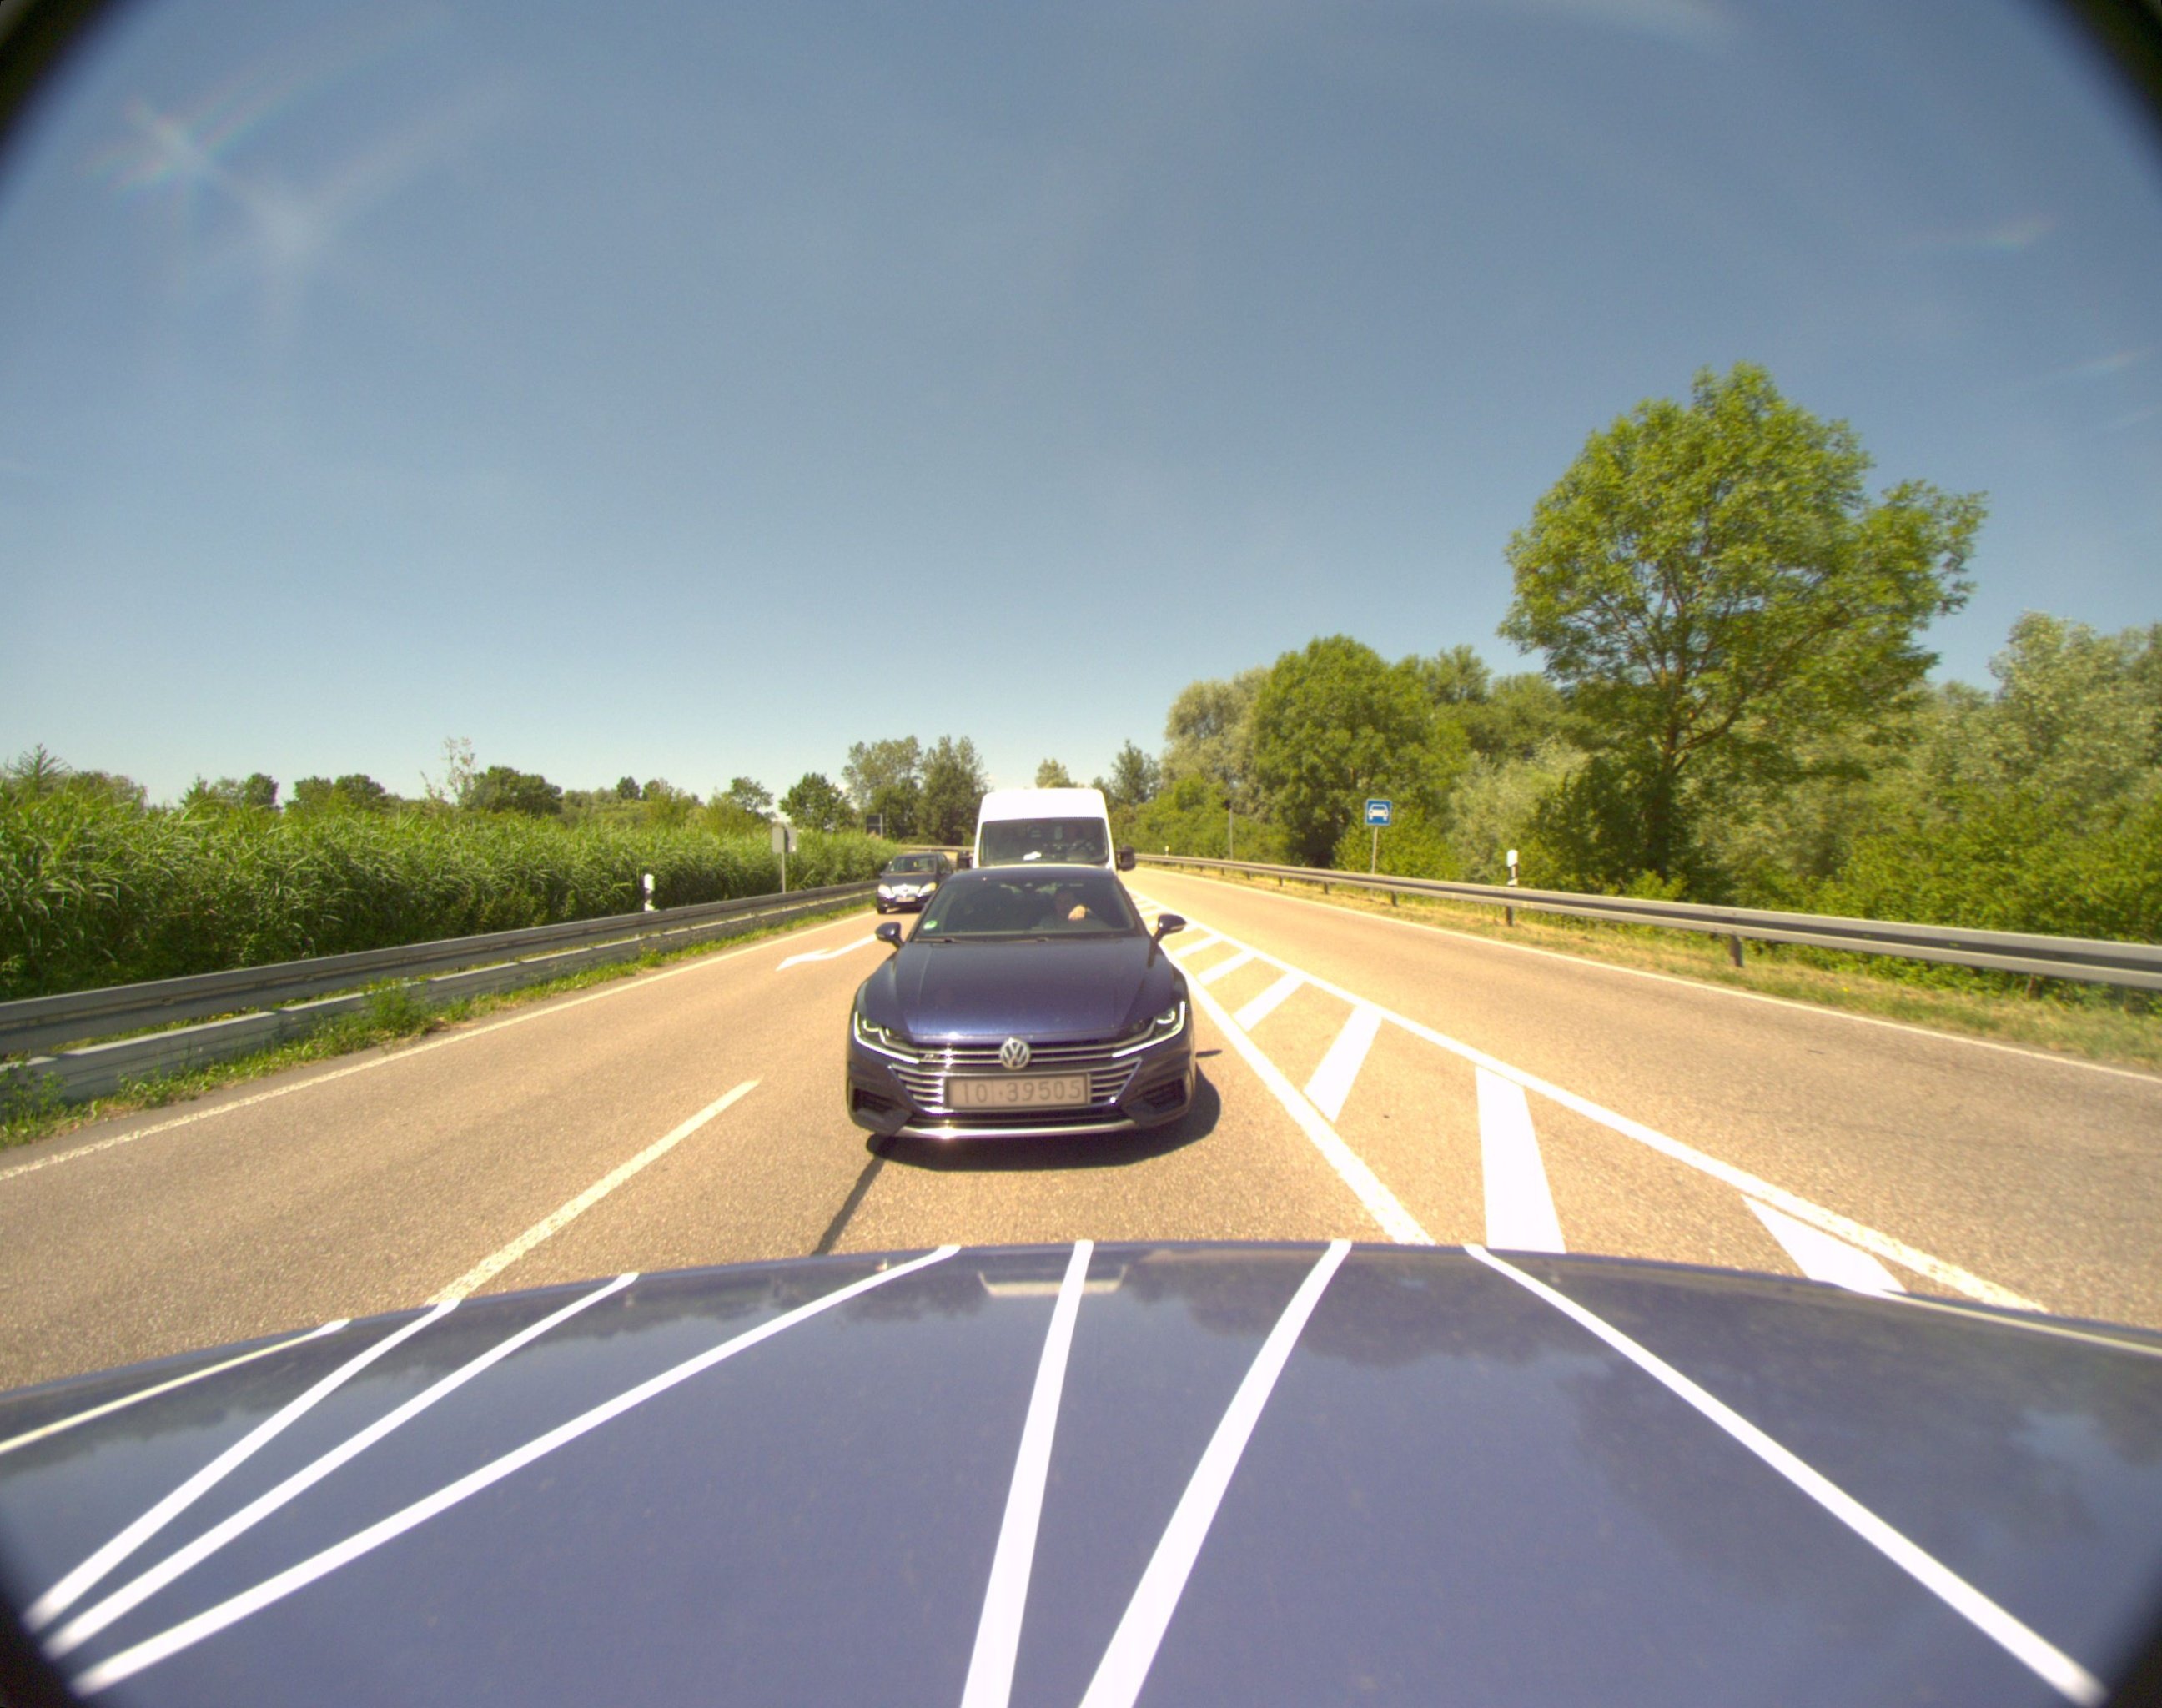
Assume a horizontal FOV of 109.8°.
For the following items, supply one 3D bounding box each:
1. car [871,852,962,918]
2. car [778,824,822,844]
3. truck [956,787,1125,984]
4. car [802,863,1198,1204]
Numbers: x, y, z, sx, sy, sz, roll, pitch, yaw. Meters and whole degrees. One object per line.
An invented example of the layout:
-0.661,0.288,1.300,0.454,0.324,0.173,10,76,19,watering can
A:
-4.487,0.794,21.255,1.672,1.591,3.553,-2,1,1,car
-36.053,-2.580,97.399,5.574,2.404,2.003,1,5,29,car
-0.674,0.353,12.303,2.011,2.365,5.909,-2,1,-4,truck
-0.352,0.874,5.768,1.819,1.454,4.415,-2,1,1,car
